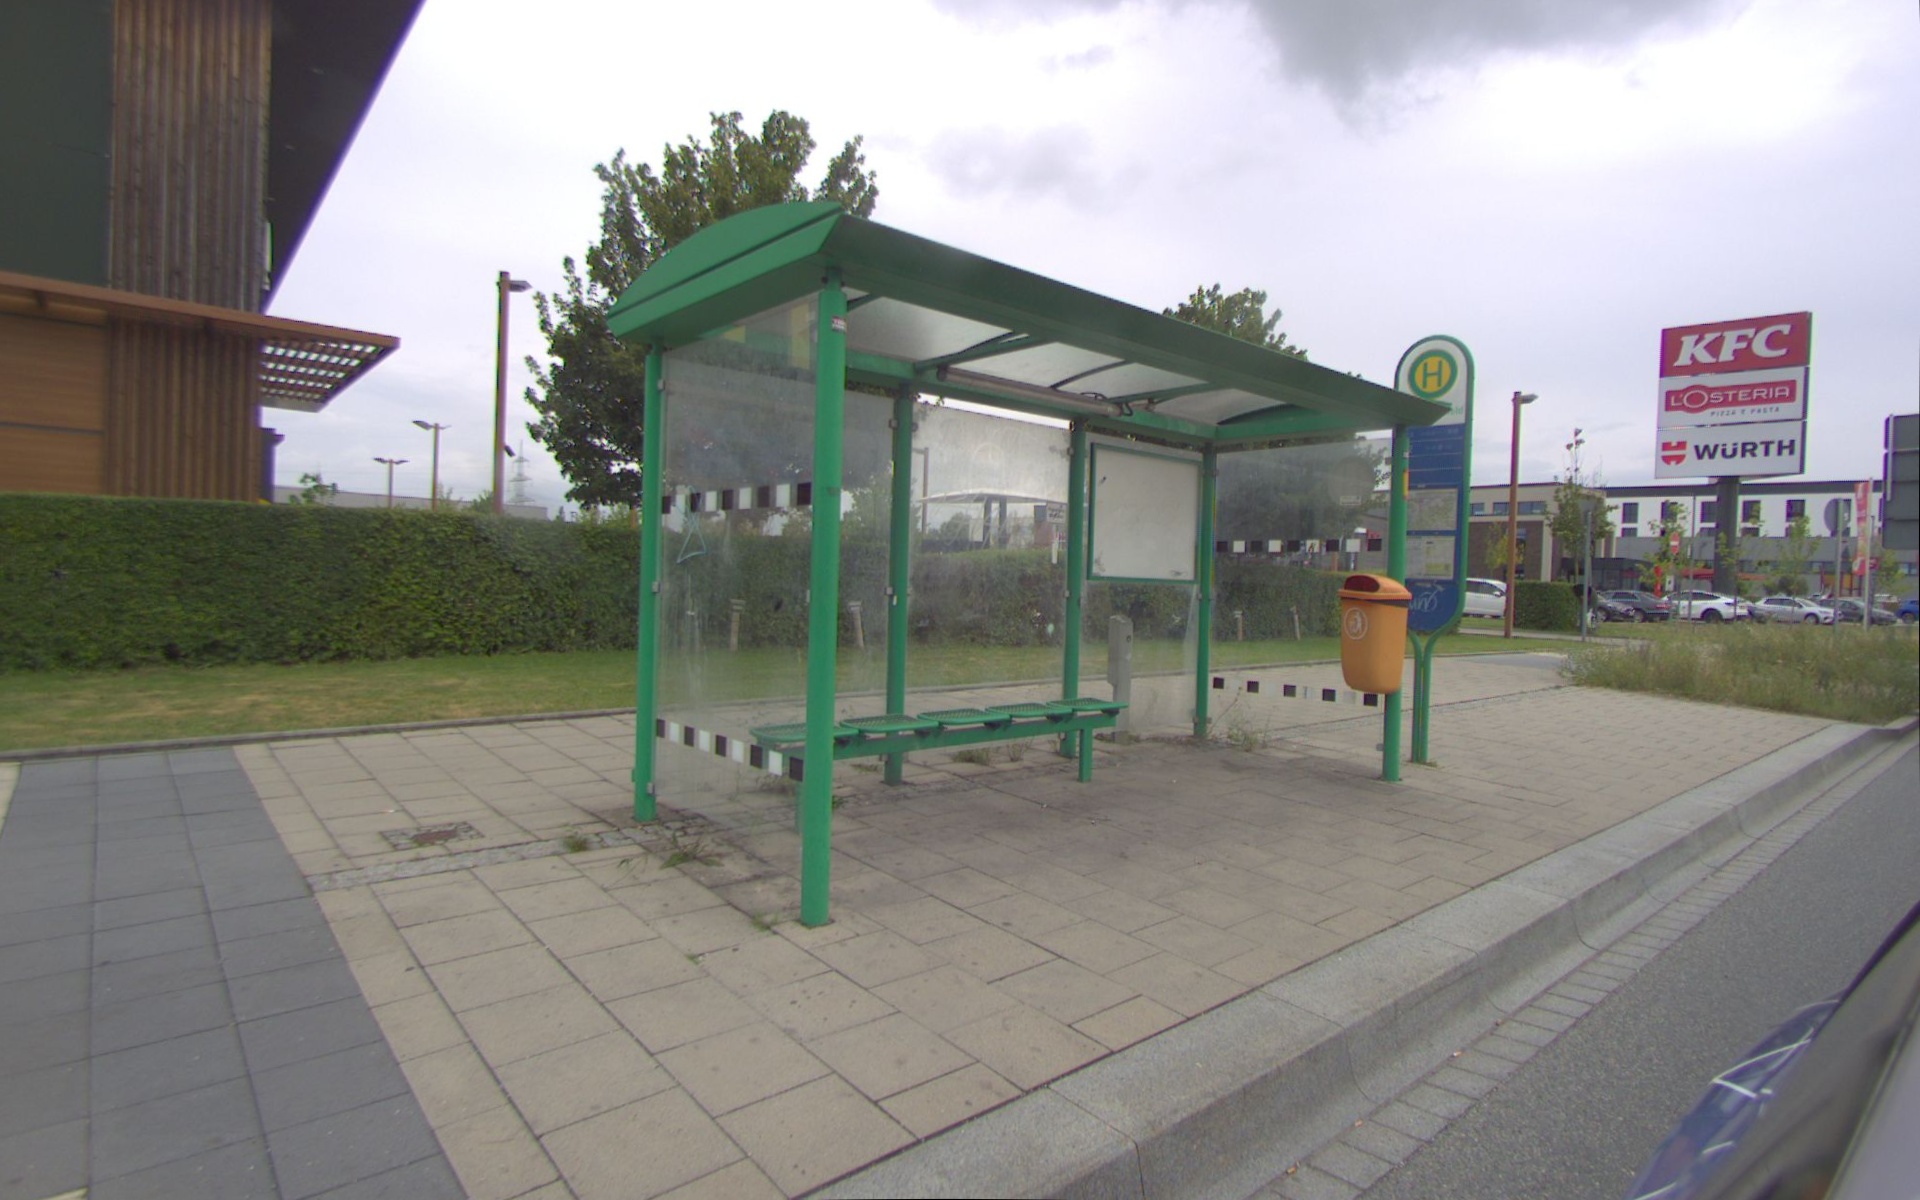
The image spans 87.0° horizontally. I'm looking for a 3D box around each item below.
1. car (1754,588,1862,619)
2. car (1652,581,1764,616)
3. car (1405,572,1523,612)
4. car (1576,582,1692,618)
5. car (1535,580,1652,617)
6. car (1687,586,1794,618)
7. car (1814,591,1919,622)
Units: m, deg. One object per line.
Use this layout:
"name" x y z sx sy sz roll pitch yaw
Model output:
"car" 45.337 0.176 54.179 1.809 1.504 4.007 1 1 -28
"car" 36.620 -0.102 49.654 1.811 1.541 4.004 1 2 -32
"car" 21.024 -0.352 42.305 1.814 1.547 3.997 1 2 -39
"car" 30.686 -0.020 46.181 1.811 1.504 4.004 1 2 -32
"car" 28.157 -0.076 45.083 1.811 1.504 4.004 1 2 -32
"car" 40.665 0.086 52.822 1.811 1.504 4.003 1 2 -32
"car" 49.891 0.325 55.688 1.809 1.504 4.007 1 1 -28
